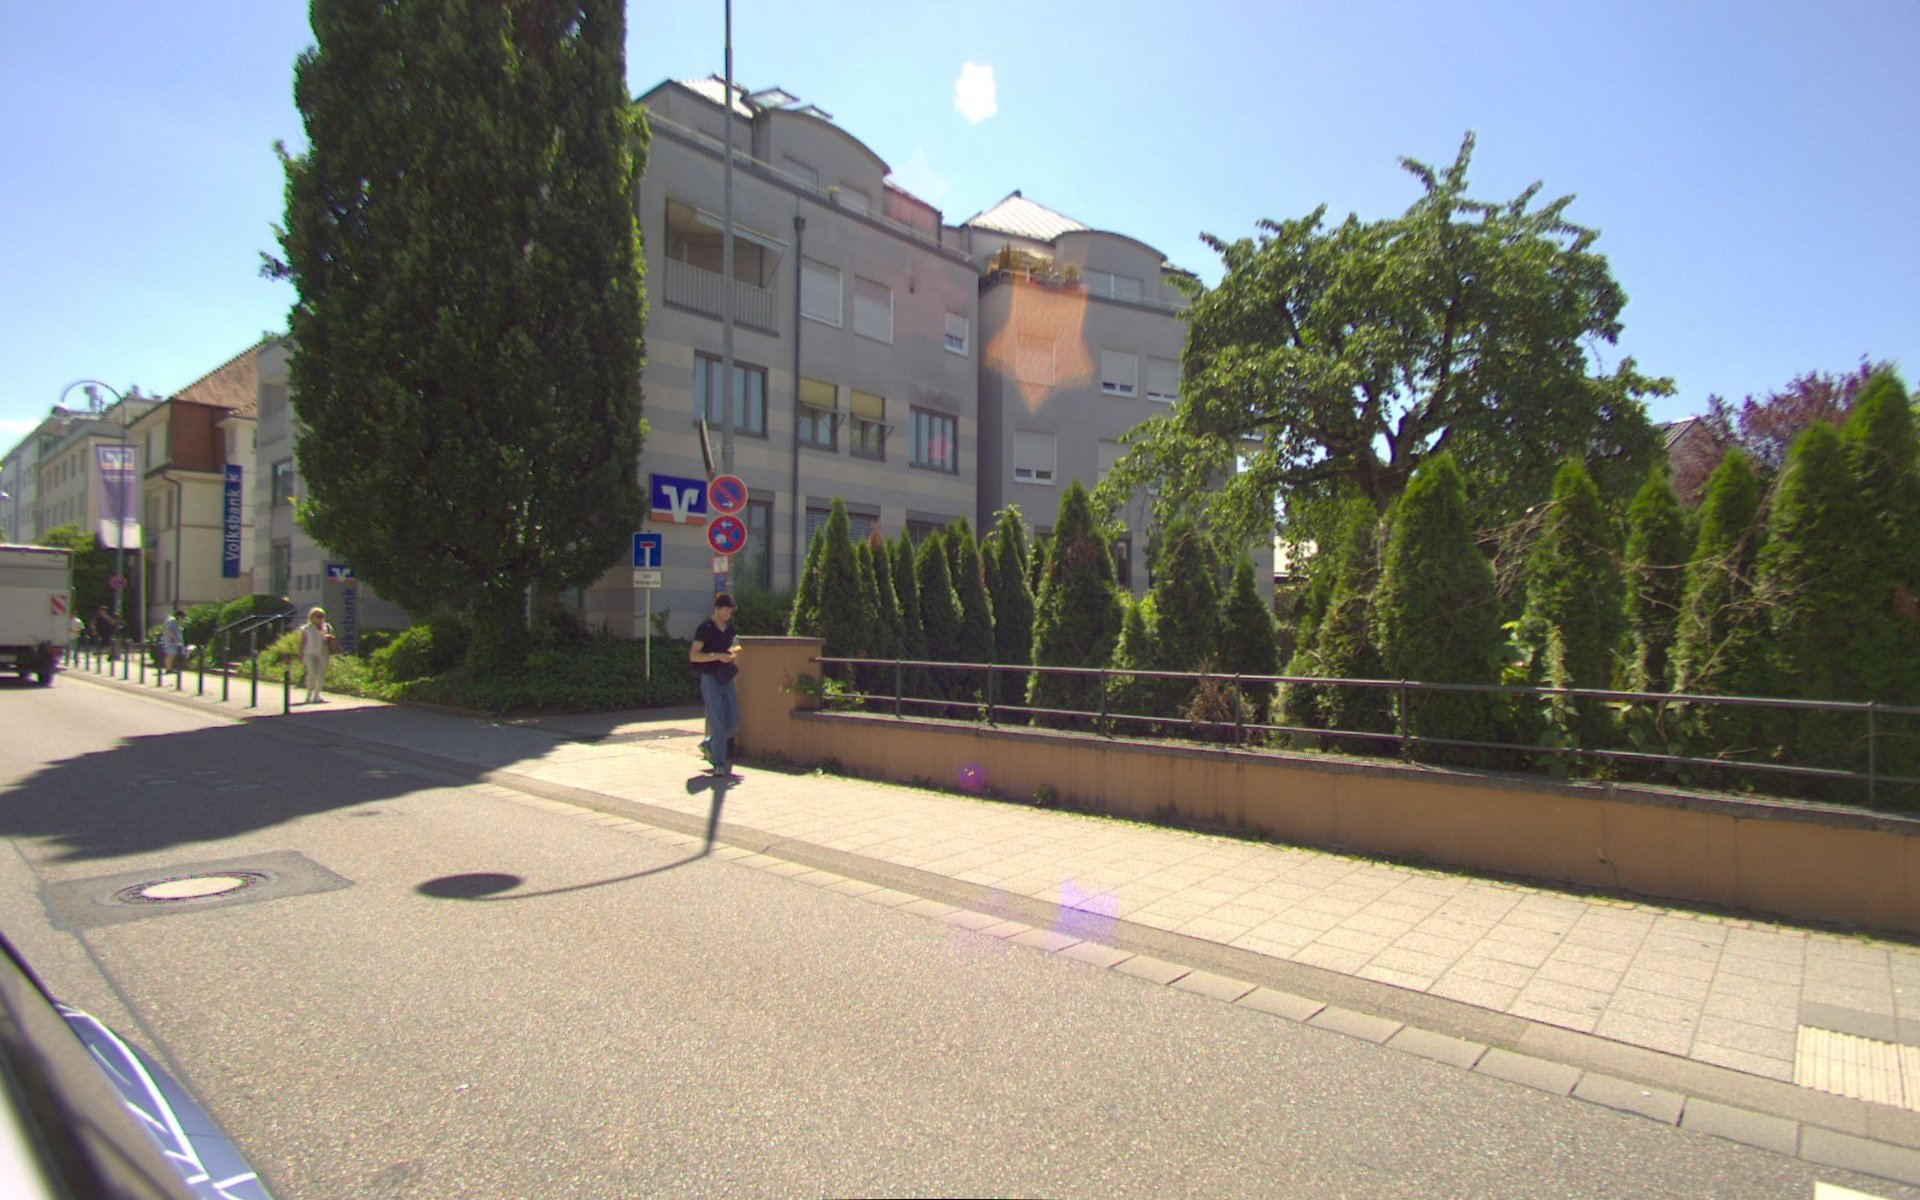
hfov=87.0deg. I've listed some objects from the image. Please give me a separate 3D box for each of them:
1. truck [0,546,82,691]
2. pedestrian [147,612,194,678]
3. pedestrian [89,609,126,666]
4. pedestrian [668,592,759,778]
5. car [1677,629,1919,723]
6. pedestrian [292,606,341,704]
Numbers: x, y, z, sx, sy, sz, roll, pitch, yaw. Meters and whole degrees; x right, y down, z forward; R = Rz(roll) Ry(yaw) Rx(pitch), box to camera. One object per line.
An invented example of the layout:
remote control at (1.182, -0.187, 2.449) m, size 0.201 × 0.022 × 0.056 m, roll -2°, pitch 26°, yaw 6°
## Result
truck at (-22.243, 0.420, 23.140) m, size 6.255 × 3.006 × 2.394 m, roll -1°, pitch -3°, yaw 42°
pedestrian at (-20.638, 1.150, 26.465) m, size 0.751 × 1.657 × 0.836 m, roll 0°, pitch 1°, yaw 43°
pedestrian at (-27.348, 1.198, 32.455) m, size 0.950 × 1.784 × 0.740 m, roll -1°, pitch -1°, yaw 41°
pedestrian at (-2.358, 0.782, 9.688) m, size 0.708 × 1.698 × 0.531 m, roll -1°, pitch -2°, yaw 41°
car at (14.364, 1.223, 17.226) m, size 3.413 × 1.431 × 1.694 m, roll -1°, pitch -2°, yaw 39°
pedestrian at (-11.393, 0.961, 17.919) m, size 0.708 × 1.698 × 0.531 m, roll -1°, pitch -2°, yaw 41°
